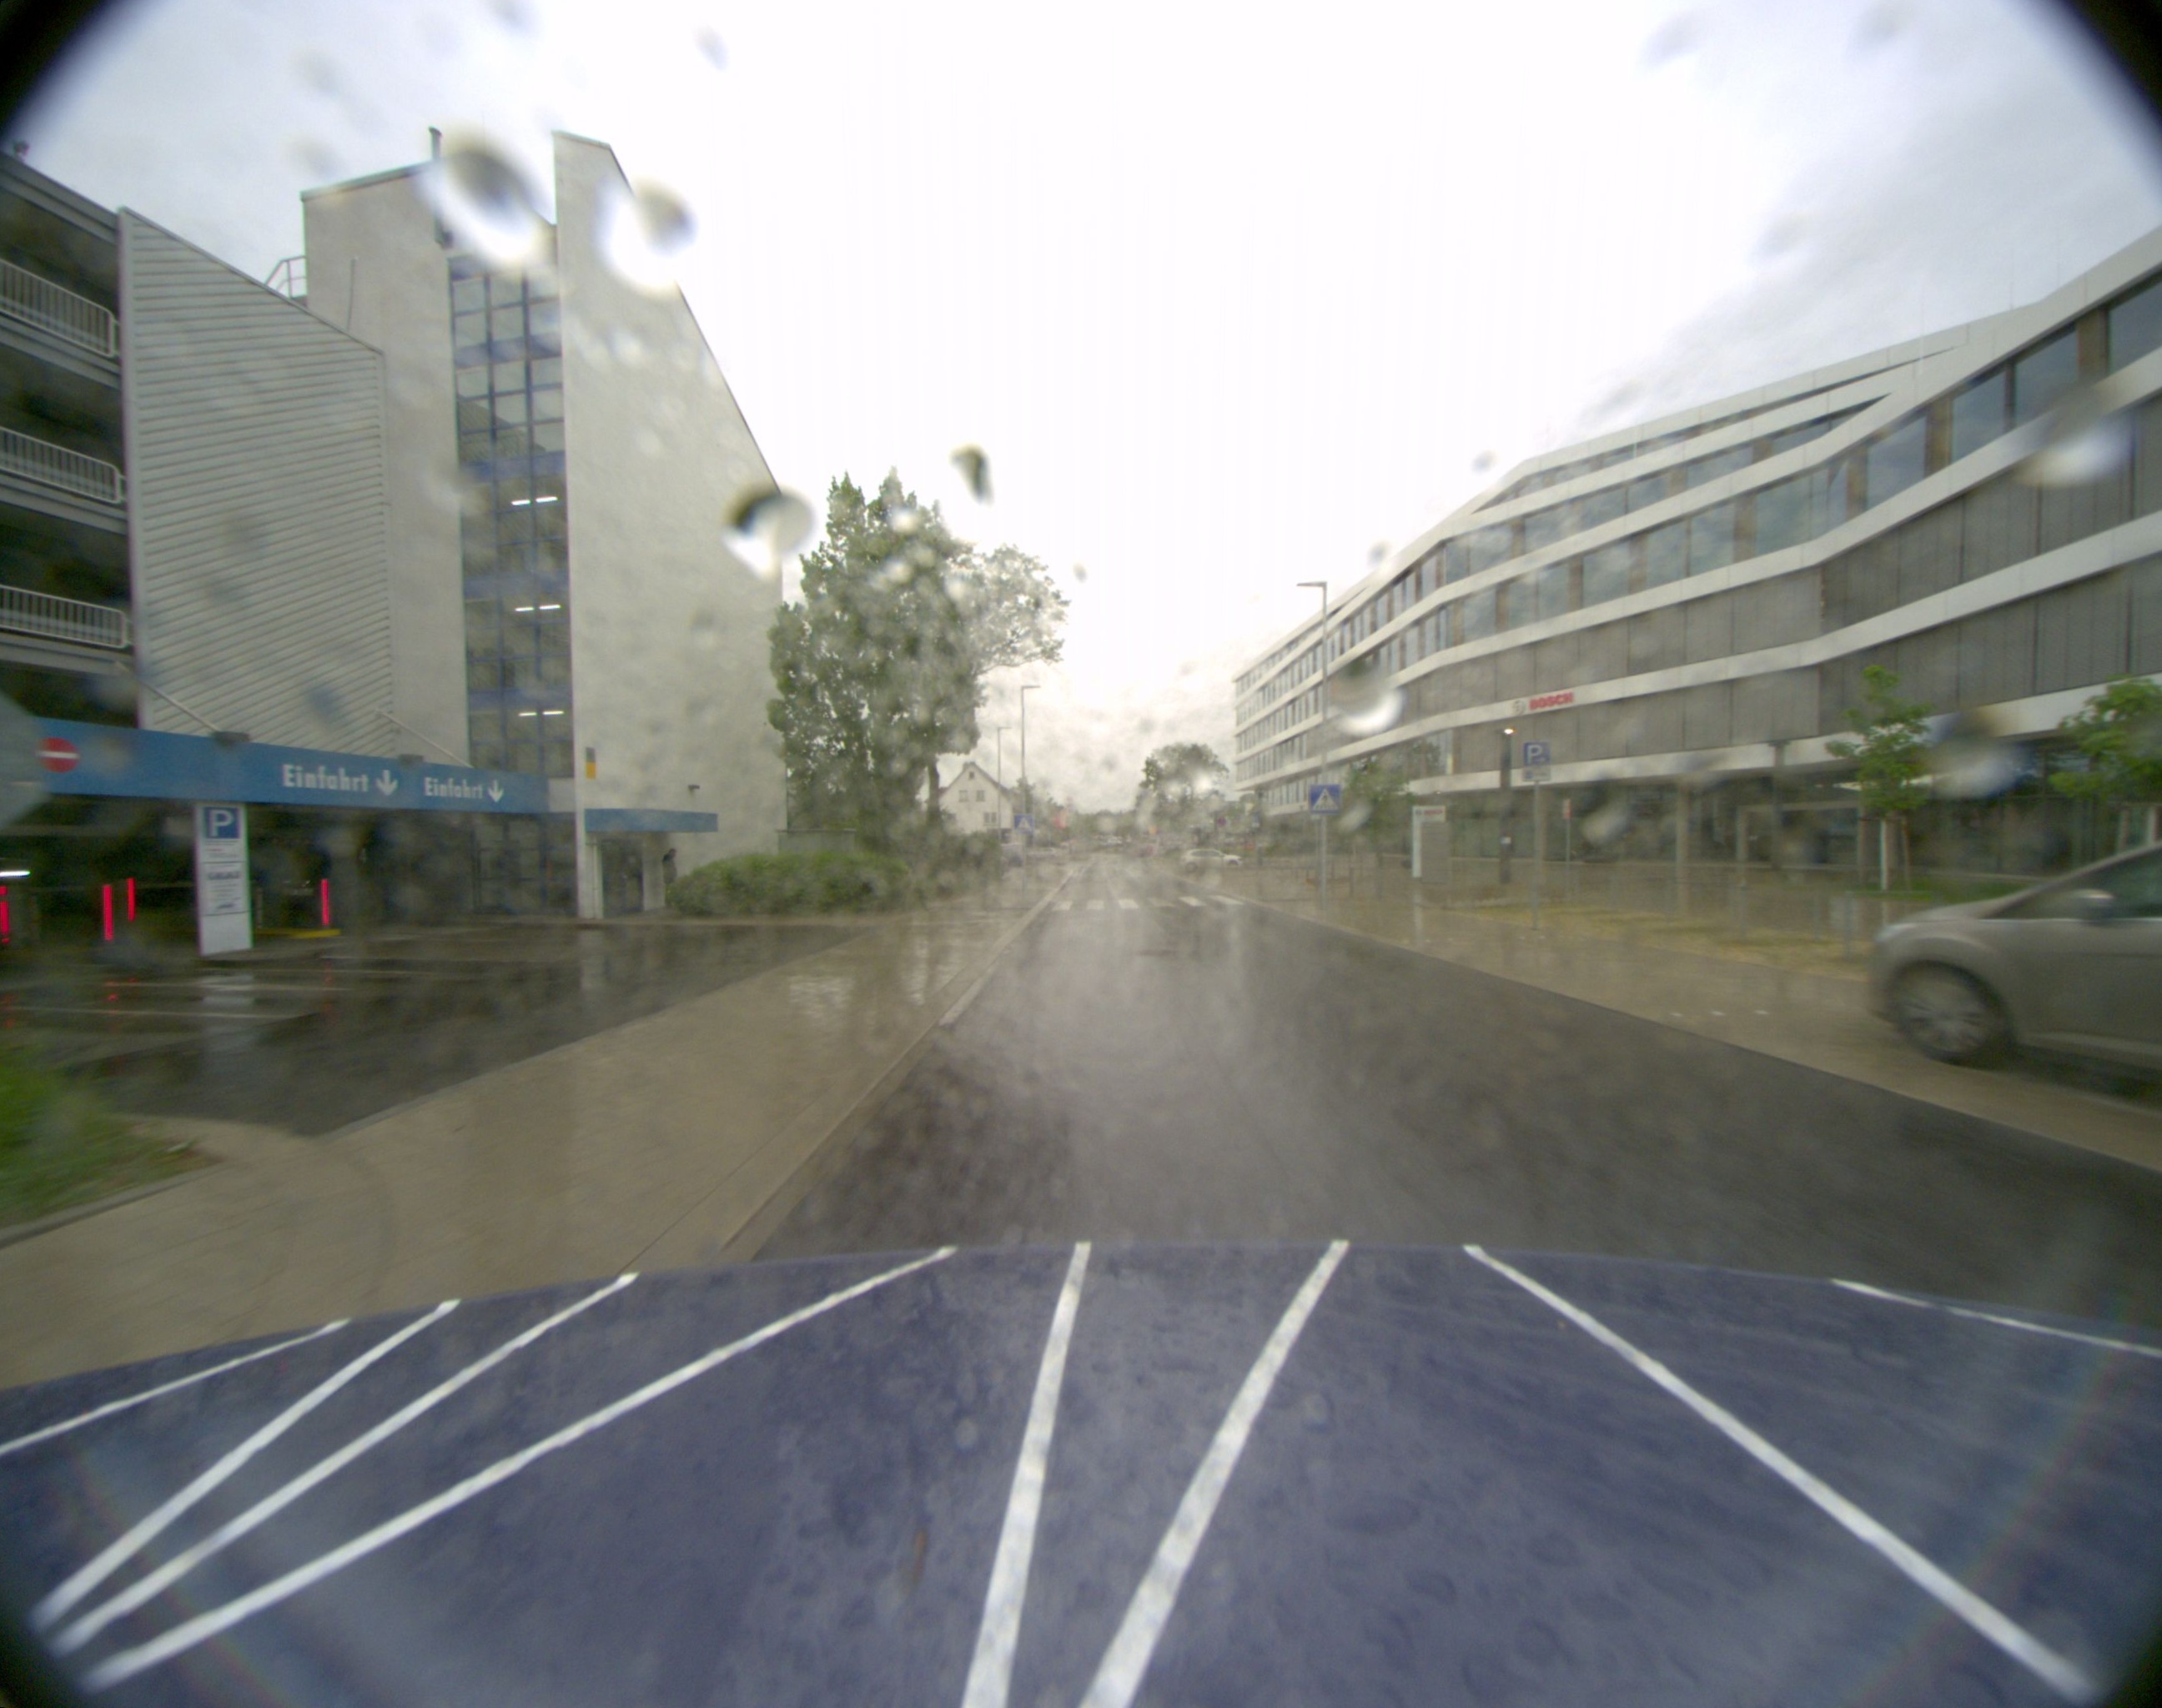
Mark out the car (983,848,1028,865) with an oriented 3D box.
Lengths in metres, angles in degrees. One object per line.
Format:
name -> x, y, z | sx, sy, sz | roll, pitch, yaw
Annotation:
car -> -6.964, 0.221, 70.037 | 3.998, 1.444, 1.868 | -1, 1, -3

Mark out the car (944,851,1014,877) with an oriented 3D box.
car -> -6.141, 0.609, 46.150 | 3.998, 1.444, 1.868 | -1, 1, -3
